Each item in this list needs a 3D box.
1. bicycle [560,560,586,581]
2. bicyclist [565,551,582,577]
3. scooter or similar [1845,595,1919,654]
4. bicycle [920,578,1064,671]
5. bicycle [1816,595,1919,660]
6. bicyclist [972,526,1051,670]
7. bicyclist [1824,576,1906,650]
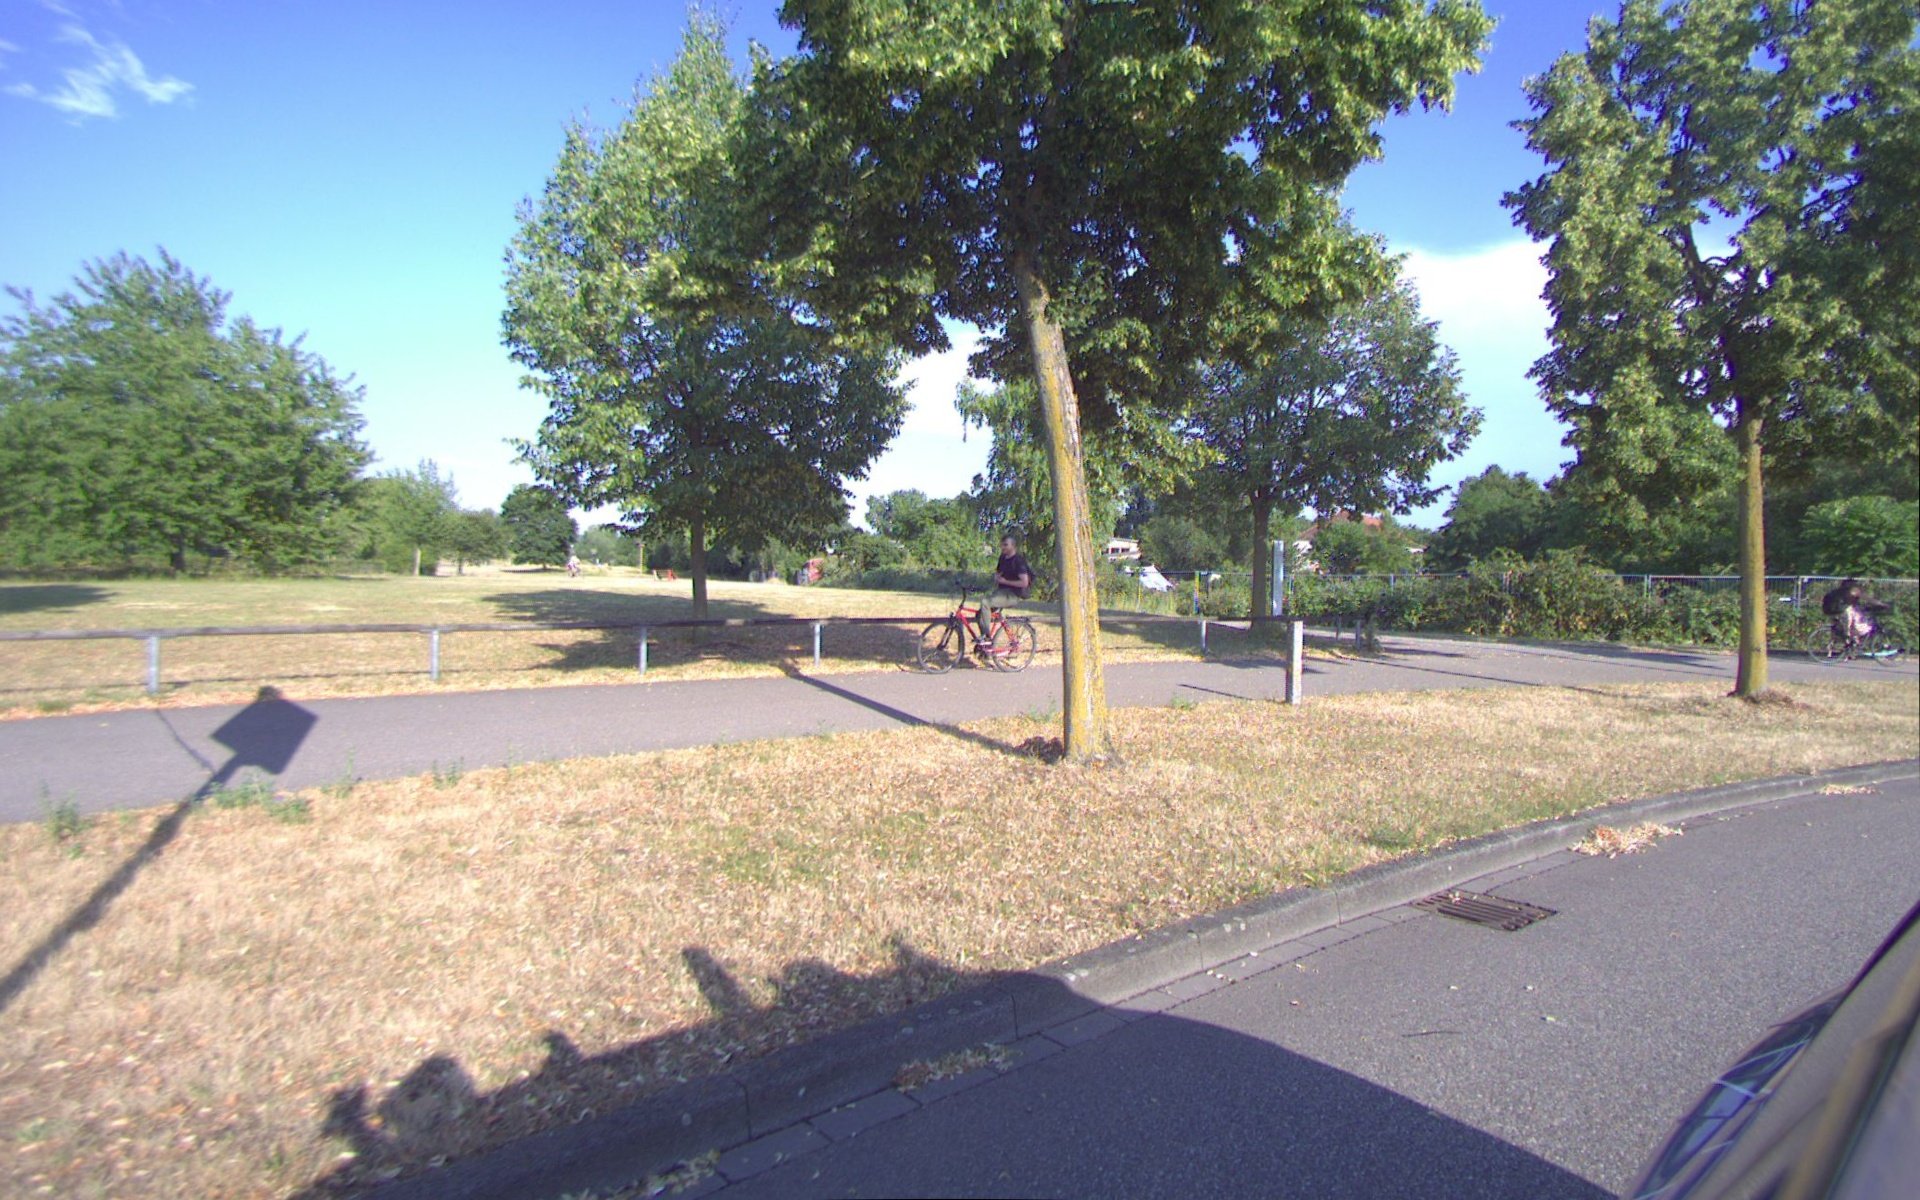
[{"bbox_3d":[-27.116,-2.062,70.894,1.921,1.468,0.389,0,0,23],"label":"bicycle"},{"bbox_3d":[-27.038,-2.488,70.830,0.918,1.802,0.633,-1,0,23],"label":"bicyclist"},{"bbox_3d":[18.860,0.494,20.683,1.149,1.174,0.342,1,1,4],"label":"scooter or similar"},{"bbox_3d":[0.432,0.316,13.378,1.851,1.172,0.417,1,2,-22],"label":"bicycle"},{"bbox_3d":[17.506,0.531,19.272,1.800,1.171,0.490,1,-2,12],"label":"bicycle"},{"bbox_3d":[0.676,-0.031,13.452,0.812,1.852,0.622,2,2,-18],"label":"bicyclist"},{"bbox_3d":[17.282,0.232,19.343,0.965,1.380,0.557,1,1,11],"label":"bicyclist"}]
